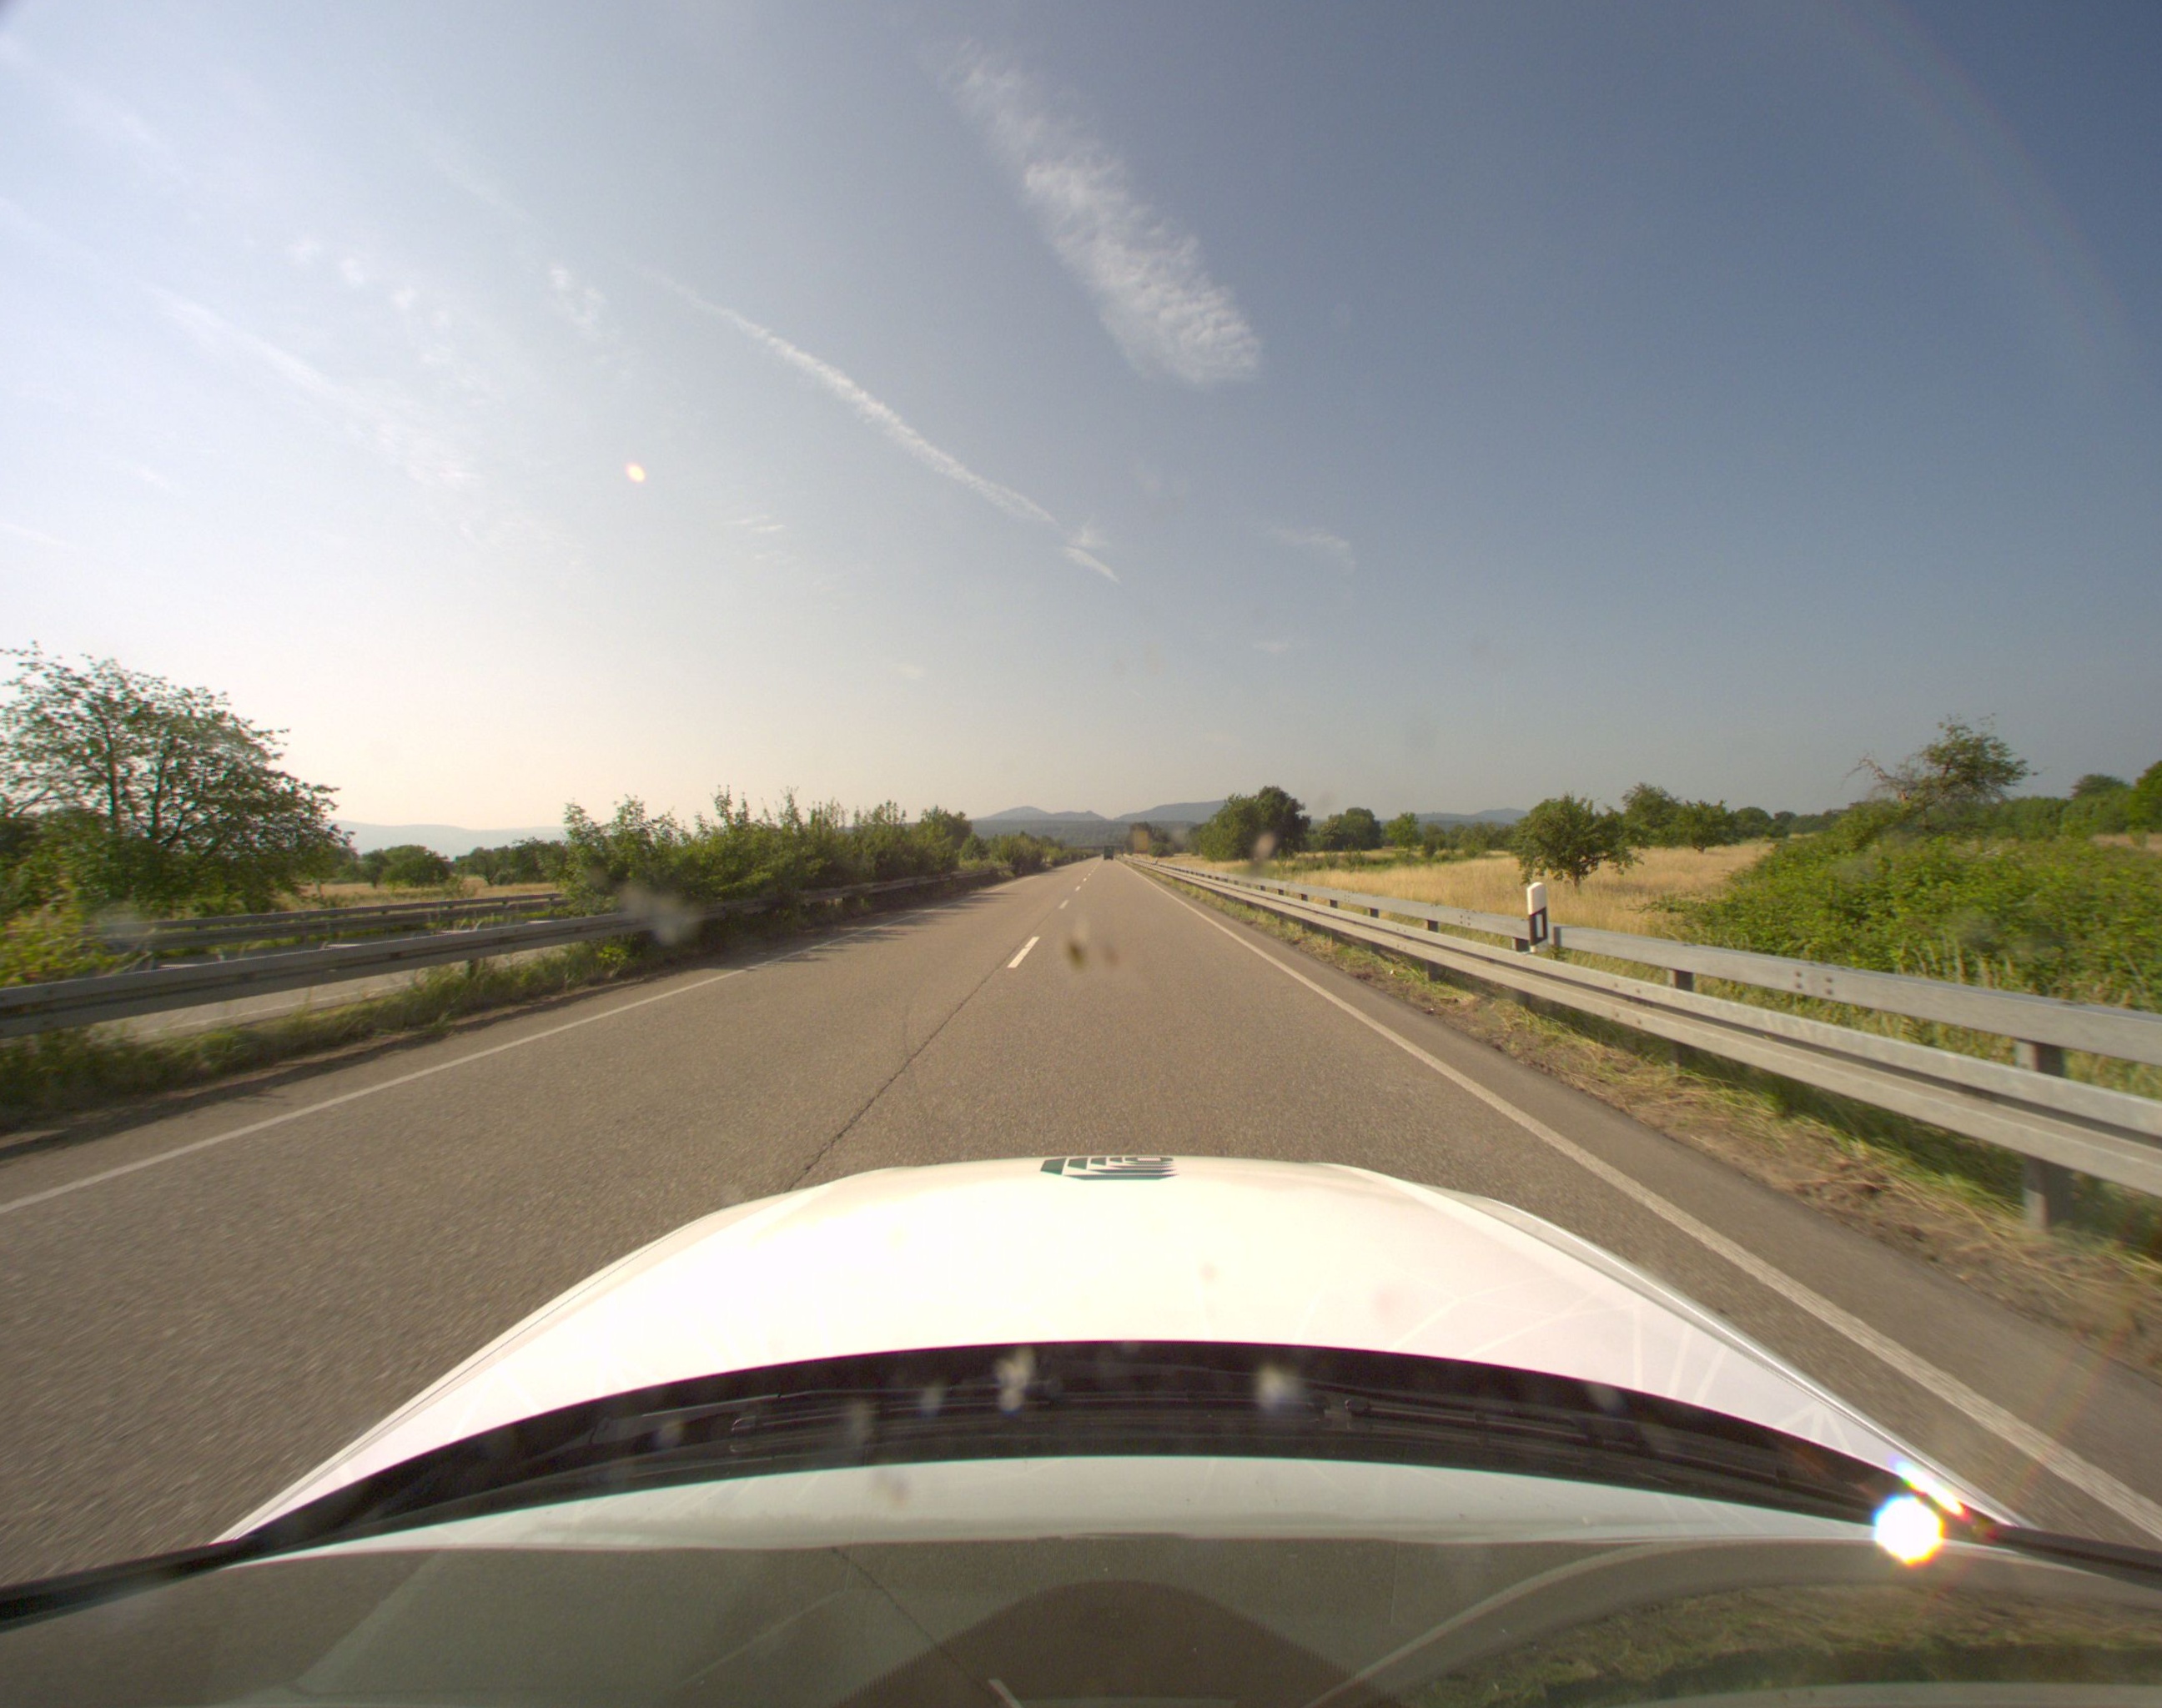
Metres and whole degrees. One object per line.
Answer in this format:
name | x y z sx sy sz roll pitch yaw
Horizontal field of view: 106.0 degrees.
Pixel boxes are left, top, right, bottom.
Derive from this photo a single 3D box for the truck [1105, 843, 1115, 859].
truck | 7.567 -0.724 211.725 2.711 3.965 10.422 0 1 2
